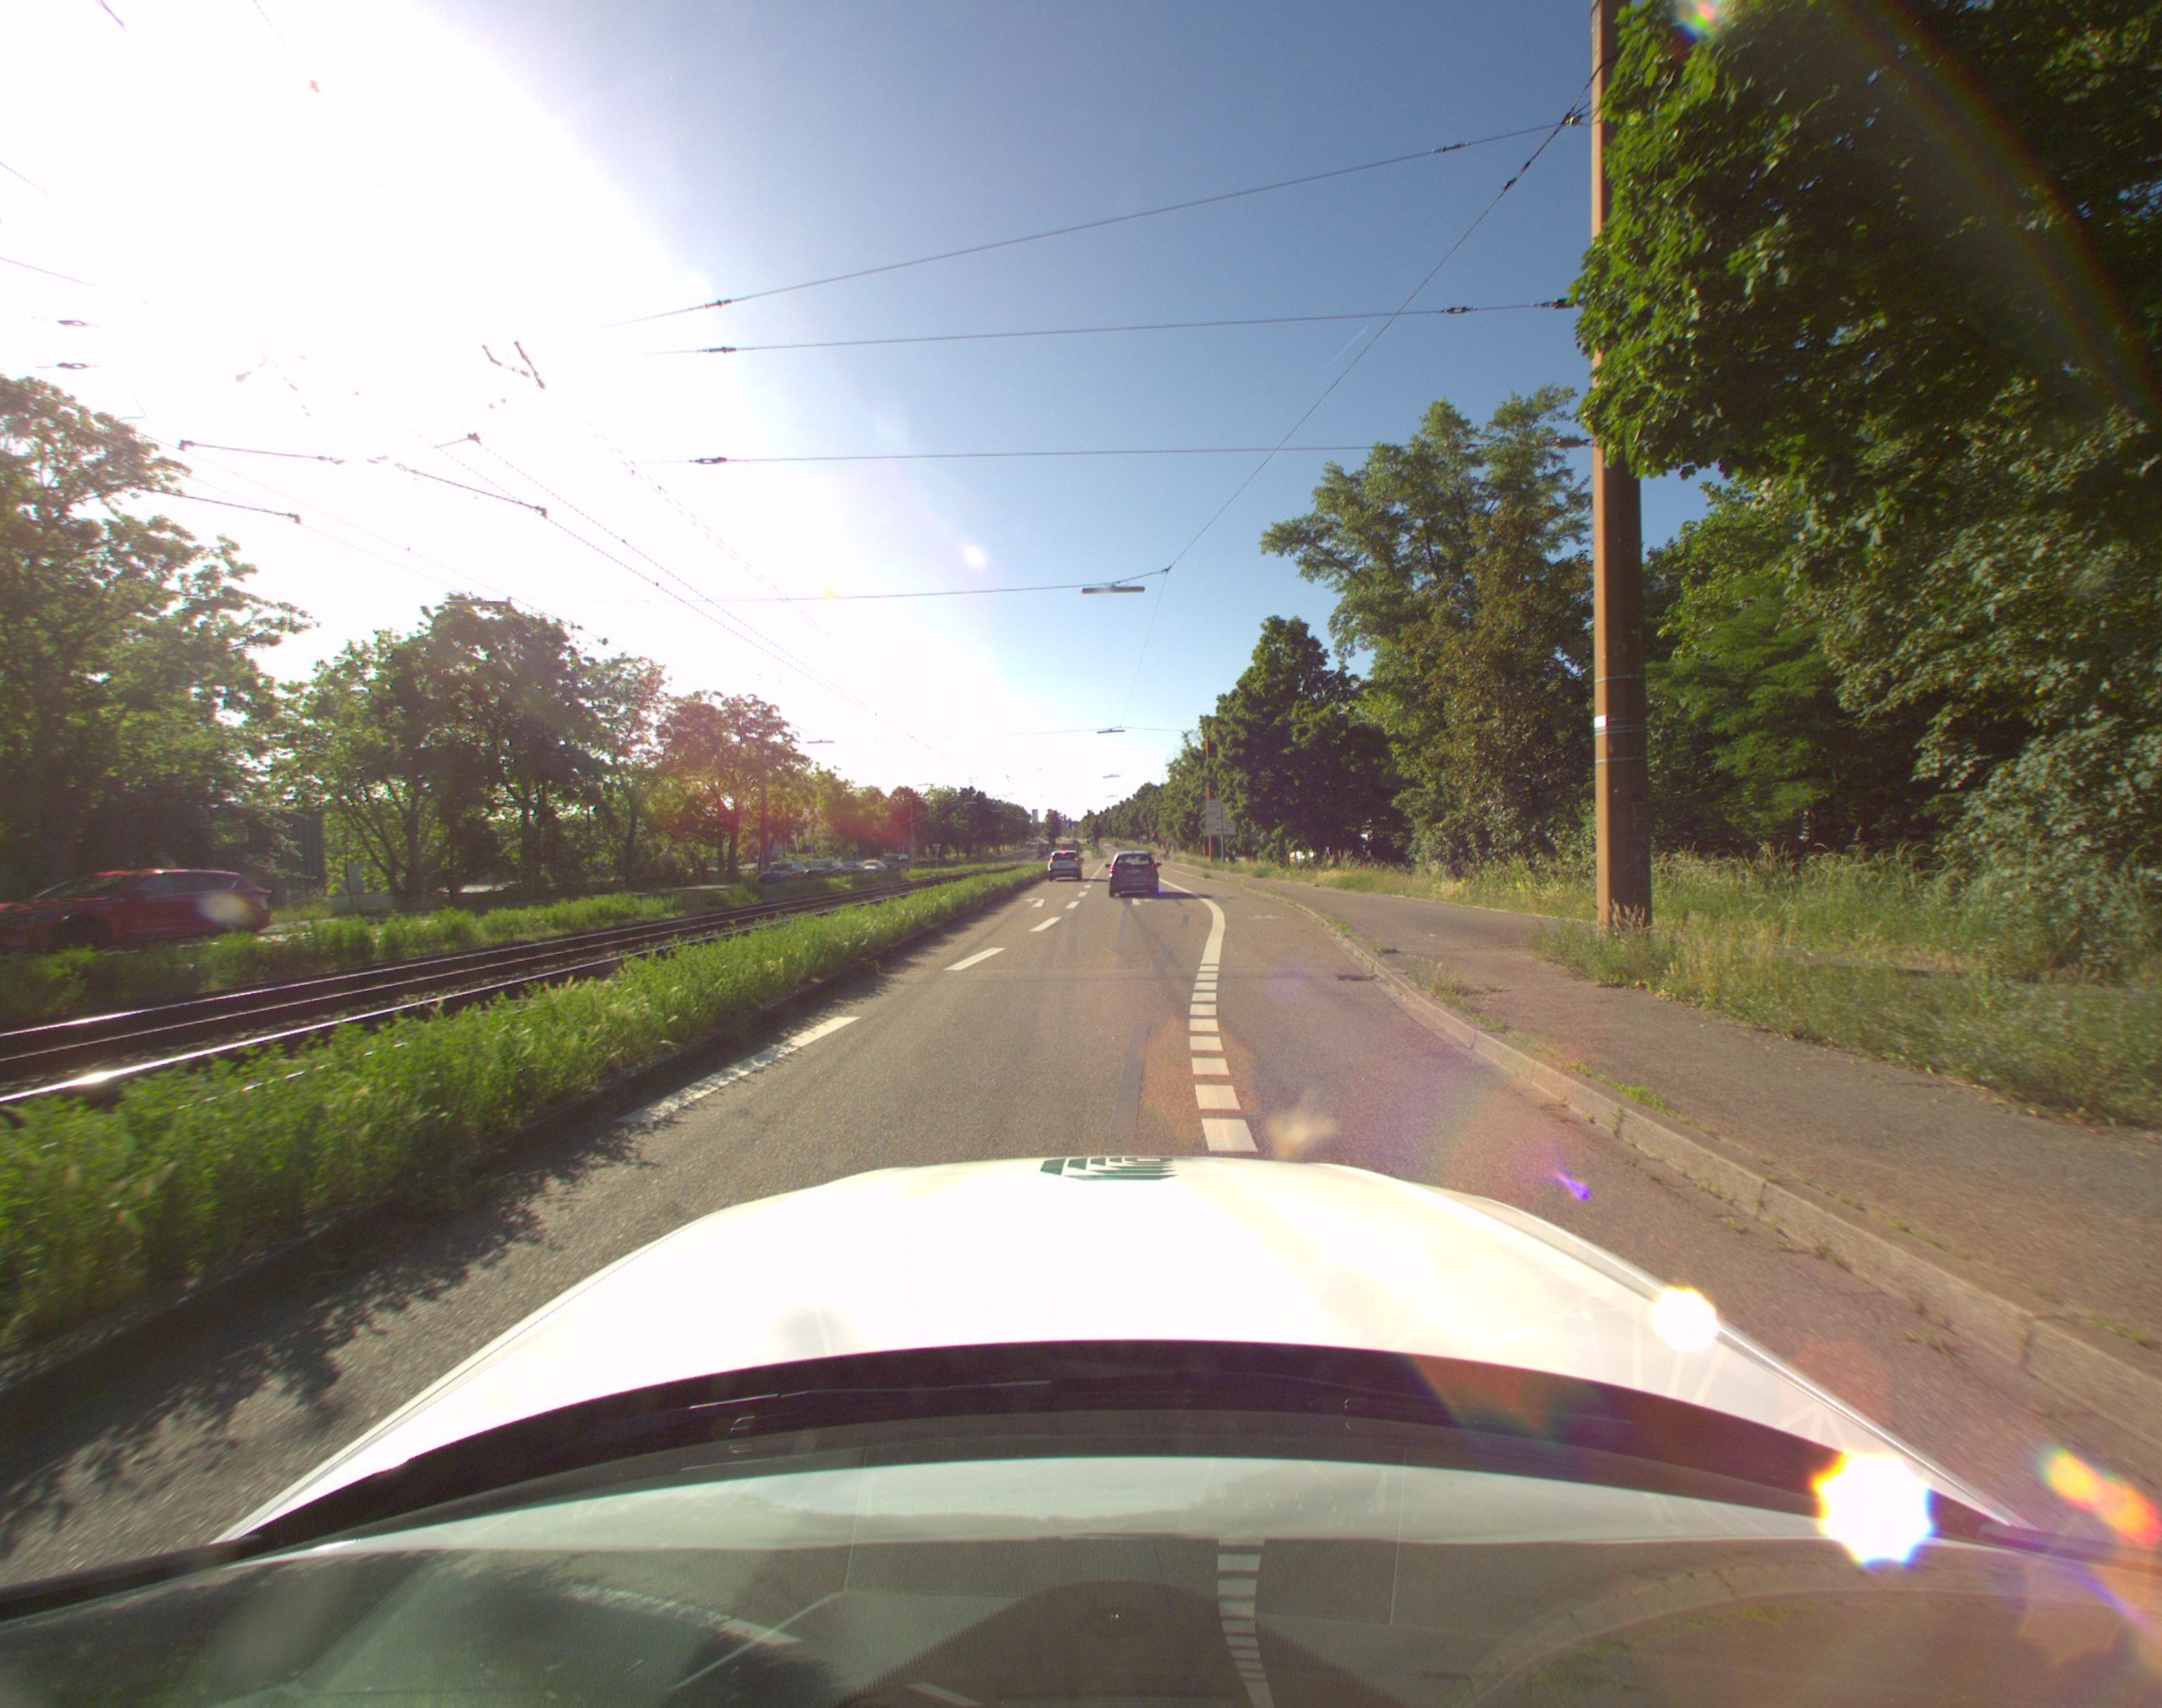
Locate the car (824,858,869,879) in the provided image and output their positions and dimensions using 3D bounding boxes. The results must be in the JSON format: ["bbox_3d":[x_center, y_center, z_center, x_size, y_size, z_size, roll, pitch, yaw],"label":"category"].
[{"bbox_3d":[-17.878,1.054,62.297,1.985,1.437,4.418,-2,1,2],"label":"car"}]

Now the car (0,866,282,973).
[{"bbox_3d":[-18.901,1.161,15.958,1.997,1.702,4.467,-2,0,1],"label":"car"}]

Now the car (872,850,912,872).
[{"bbox_3d":[-17.363,0.597,74.950,2.187,1.891,4.797,-1,1,4],"label":"car"}]

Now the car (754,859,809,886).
[{"bbox_3d":[-18.225,1.096,49.695,1.729,1.494,4.328,0,0,0],"label":"car"}]

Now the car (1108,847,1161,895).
[{"bbox_3d":[1.794,0.537,28.429,1.700,1.508,4.002,-1,0,2],"label":"car"}]

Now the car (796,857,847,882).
[{"bbox_3d":[-17.981,1.038,56.630,1.987,1.574,4.436,-2,1,1],"label":"car"}]

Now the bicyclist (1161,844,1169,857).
[{"bbox_3d":[11.156,-0.465,108.431,0.904,1.745,0.767,-3,0,13],"label":"bicyclist"}]

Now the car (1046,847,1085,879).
[{"bbox_3d":[-0.793,0.429,44.159,1.843,1.606,4.257,-1,0,2],"label":"car"}]

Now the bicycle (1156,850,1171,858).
[{"bbox_3d":[10.976,0.010,108.476,1.906,0.998,0.767,-4,0,13],"label":"bicycle"}]

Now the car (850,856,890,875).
[{"bbox_3d":[-17.700,0.970,68.584,1.920,1.437,4.698,-2,1,3],"label":"car"}]
